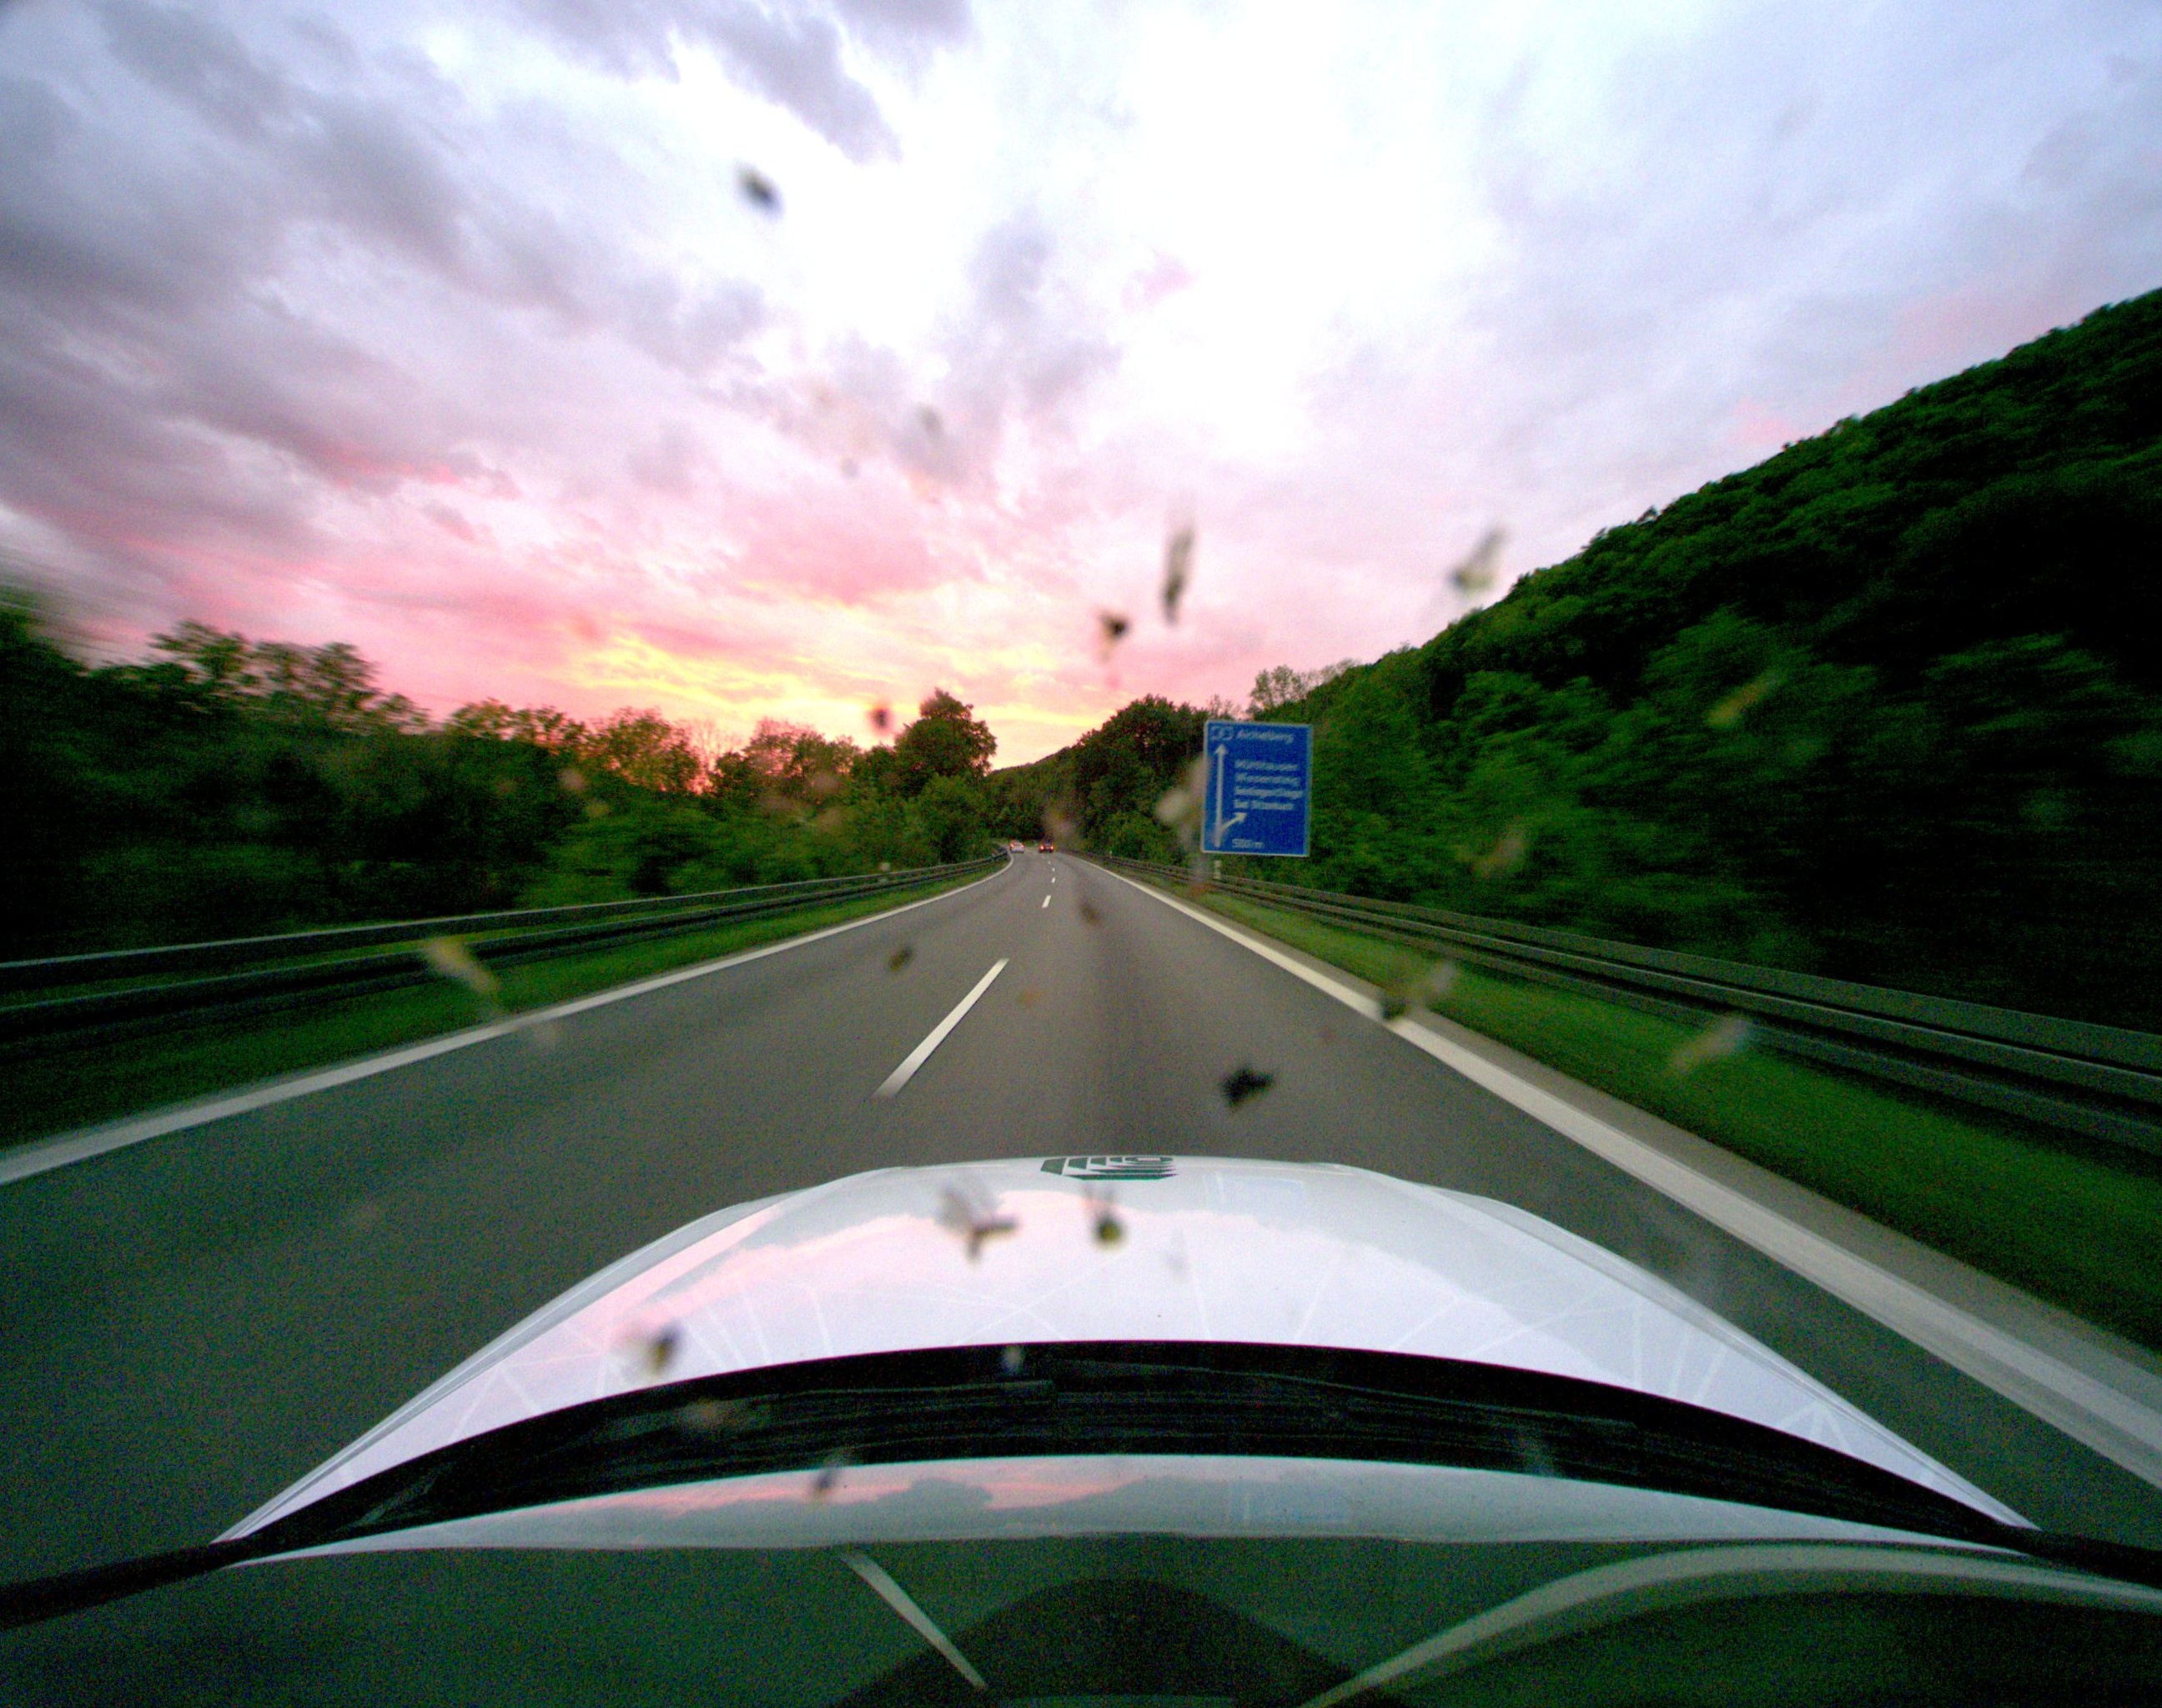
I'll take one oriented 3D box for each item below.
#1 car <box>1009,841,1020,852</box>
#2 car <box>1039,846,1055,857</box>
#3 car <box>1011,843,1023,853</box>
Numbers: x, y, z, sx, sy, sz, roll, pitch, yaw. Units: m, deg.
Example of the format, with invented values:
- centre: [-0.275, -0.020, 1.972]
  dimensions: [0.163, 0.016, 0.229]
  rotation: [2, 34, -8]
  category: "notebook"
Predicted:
- centre: [-10.767, -1.254, 132.438]
  dimensions: [1.715, 1.635, 3.994]
  rotation: [-3, 0, -4]
  category: "car"
- centre: [-4.991, -0.400, 120.638]
  dimensions: [1.871, 1.466, 4.002]
  rotation: [-3, -1, 2]
  category: "car"
- centre: [-9.505, -0.901, 121.338]
  dimensions: [1.714, 1.501, 3.996]
  rotation: [0, -1, -2]
  category: "car"
